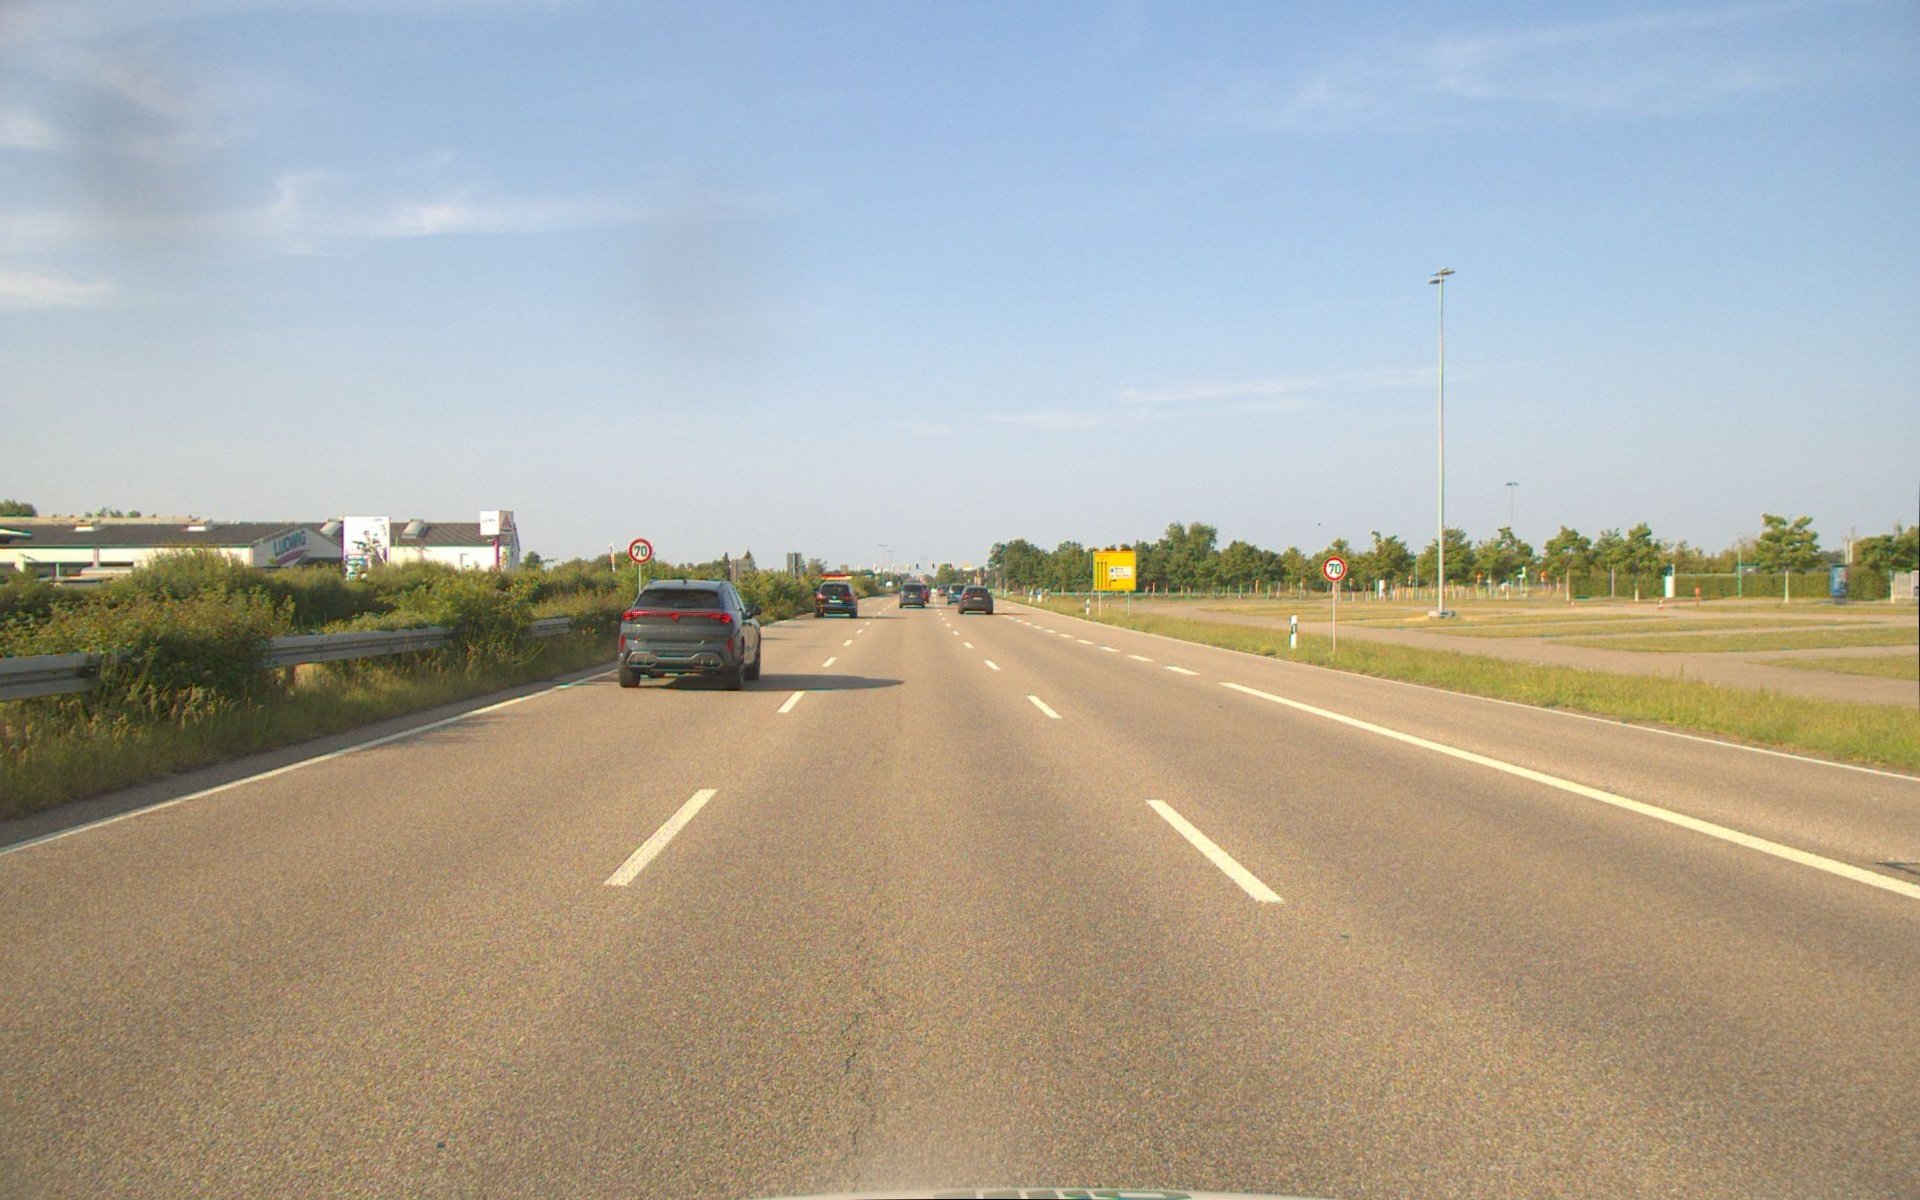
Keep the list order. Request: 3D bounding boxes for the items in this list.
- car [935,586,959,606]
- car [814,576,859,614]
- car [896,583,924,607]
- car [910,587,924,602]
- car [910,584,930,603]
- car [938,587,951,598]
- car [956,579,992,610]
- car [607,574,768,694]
[{"bbox_3d":[-1.081,-0.316,133.082,1.835,1.488,3.980,2,0,-1],"label":"car"},{"bbox_3d":[-5.922,-0.234,79.799,1.893,1.709,4.400,2,0,-1],"label":"car"},{"bbox_3d":[-3.417,-0.359,113.629,1.776,1.488,4.400,2,0,-1],"label":"car"},{"bbox_3d":[-5.014,-0.615,194.097,1.612,1.758,3.400,1,0,-2],"label":"car"},{"bbox_3d":[-3.316,-0.568,138.360,1.614,1.488,3.980,2,0,-1],"label":"car"},{"bbox_3d":[-1.914,-0.896,202.660,1.473,1.336,3.155,2,0,-1],"label":"car"},{"bbox_3d":[0.792,-0.338,96.614,1.893,1.709,4.400,2,0,-1],"label":"car"},{"bbox_3d":[-4.122,0.467,25.696,1.808,1.640,4.400,2,0,-1],"label":"car"}]
